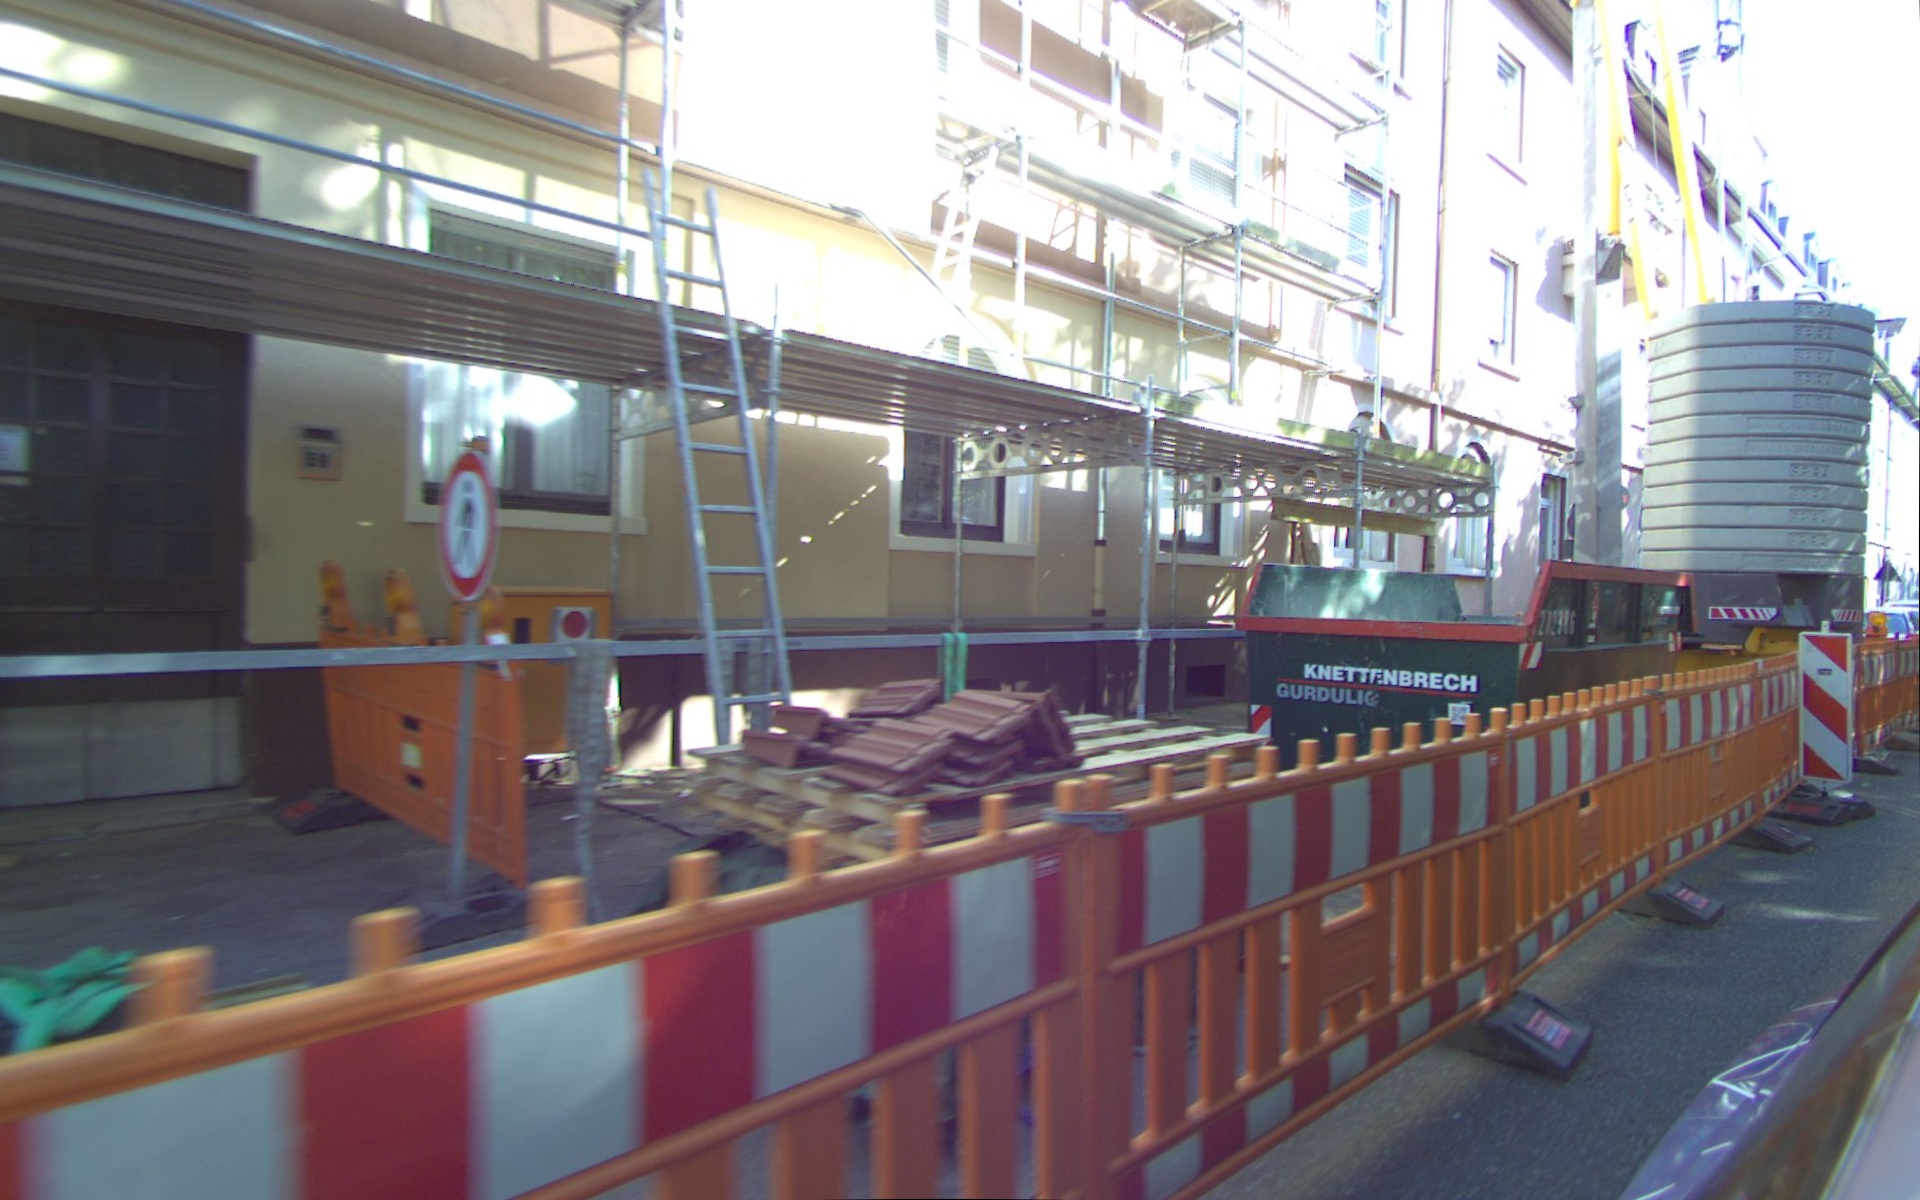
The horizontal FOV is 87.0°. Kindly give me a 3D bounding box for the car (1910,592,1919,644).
[{"bbox_3d":[30.334,0.578,30.852,3.545,1.531,1.669,0,2,-42],"label":"car"}]

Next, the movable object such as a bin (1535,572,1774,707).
[{"bbox_3d":[8.689,0.447,12.802,1.595,1.545,1.880,2,1,-6],"label":"movable object such as a bin"}]

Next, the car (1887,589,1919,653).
[{"bbox_3d":[26.205,0.562,27.070,4.200,1.619,1.669,0,2,-42],"label":"car"}]

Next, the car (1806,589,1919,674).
[{"bbox_3d":[18.350,0.563,20.119,4.171,1.482,1.764,0,2,-42],"label":"car"}]

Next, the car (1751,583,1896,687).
[{"bbox_3d":[14.781,0.543,17.293,2.918,1.577,1.489,0,2,-42],"label":"car"}]

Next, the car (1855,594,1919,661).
[{"bbox_3d":[22.496,0.616,23.975,1.668,1.445,3.908,3,2,45],"label":"car"}]
